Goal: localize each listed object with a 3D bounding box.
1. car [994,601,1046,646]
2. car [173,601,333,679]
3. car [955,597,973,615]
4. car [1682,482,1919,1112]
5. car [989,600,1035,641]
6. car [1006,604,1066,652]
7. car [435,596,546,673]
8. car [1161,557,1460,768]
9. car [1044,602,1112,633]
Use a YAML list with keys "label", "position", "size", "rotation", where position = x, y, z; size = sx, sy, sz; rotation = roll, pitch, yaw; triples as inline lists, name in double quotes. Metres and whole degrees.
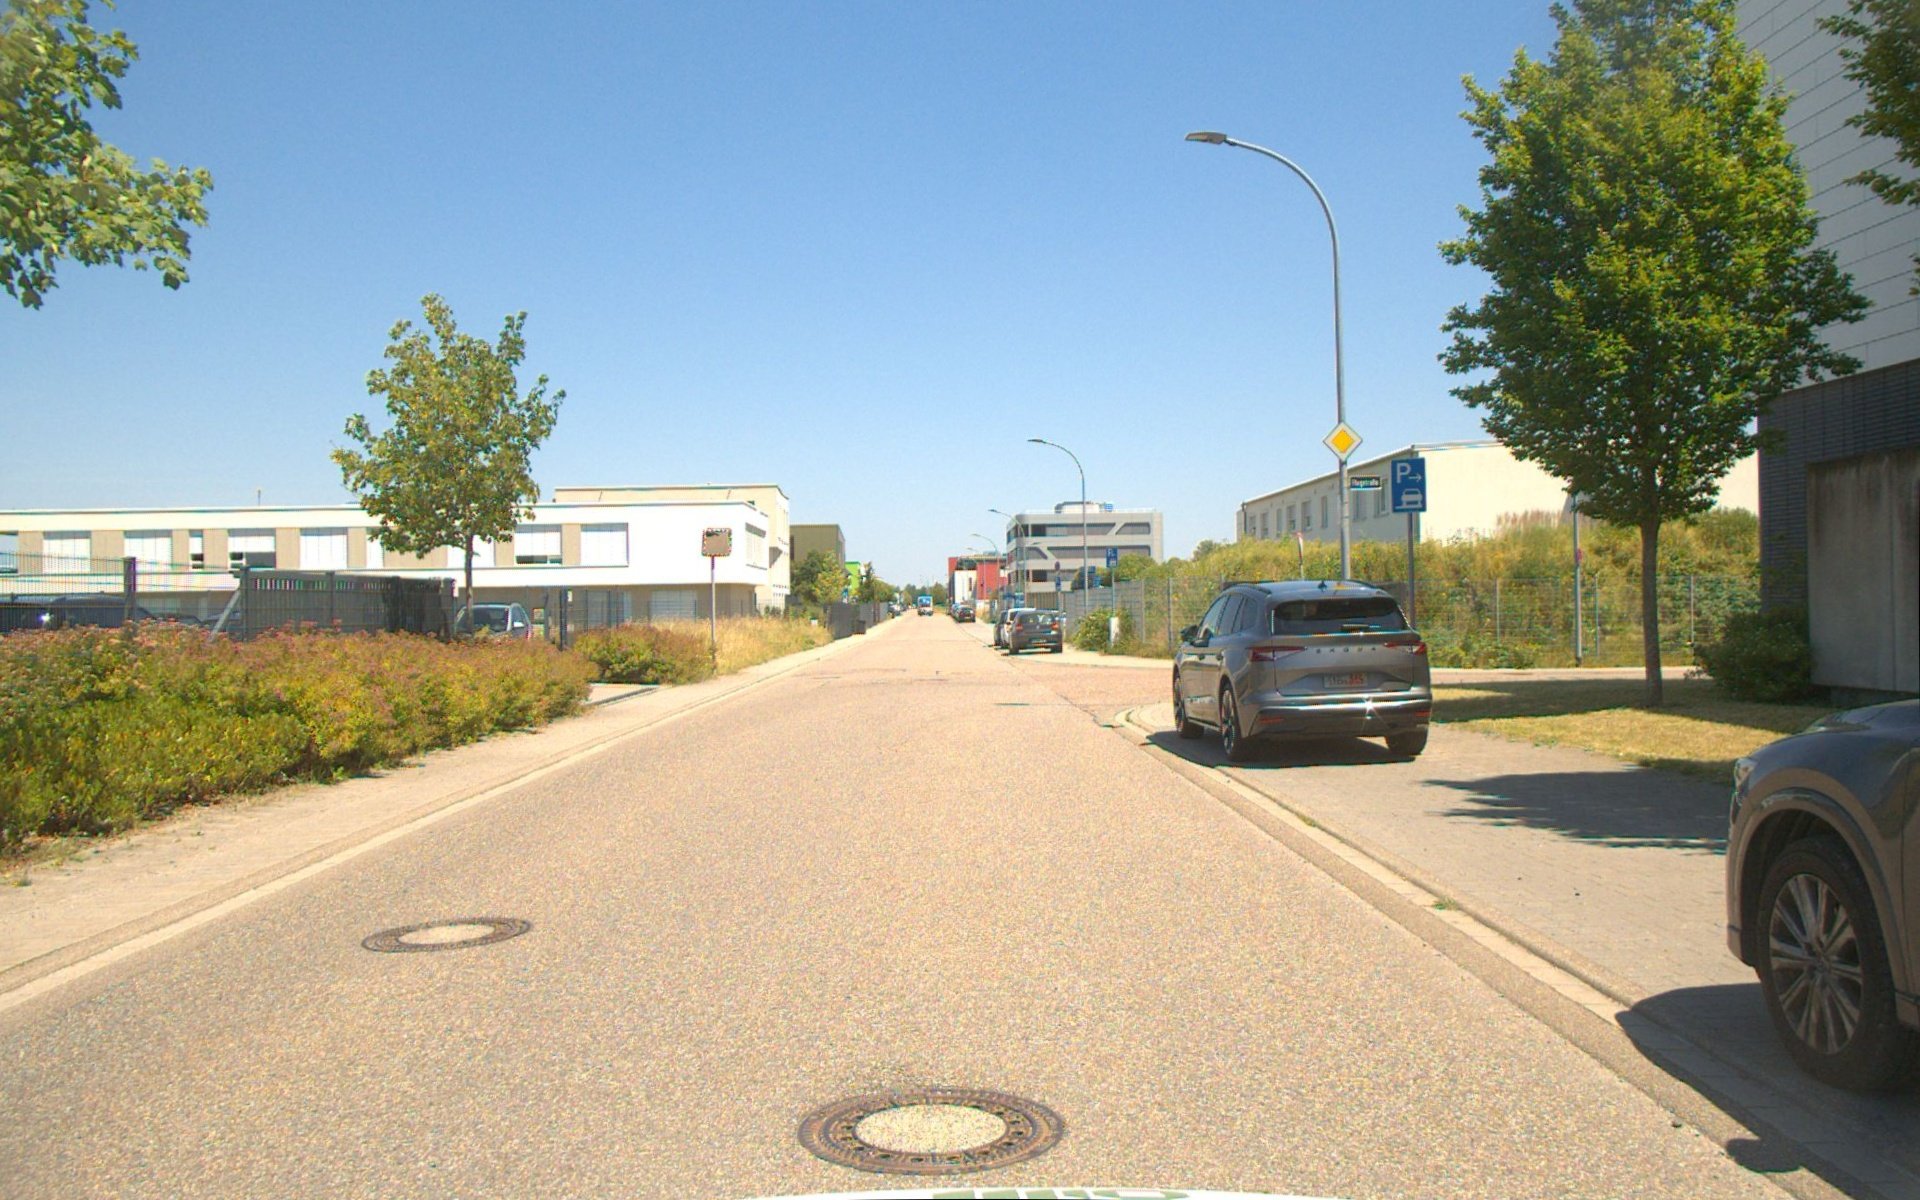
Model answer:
- label: "car"
  position: [2.335, 0.890, 64.792]
  size: [1.868, 1.573, 4.001]
  rotation: [-3, 0, 2]
- label: "car"
  position: [-14.552, 0.784, 34.266]
  size: [1.765, 1.465, 3.997]
  rotation: [-1, 0, -3]
- label: "car"
  position: [0.406, 0.615, 166.562]
  size: [1.740, 1.758, 3.999]
  rotation: [1, 0, -1]
- label: "car"
  position: [3.417, 0.497, 3.557]
  size: [1.722, 1.692, 4.362]
  rotation: [-3, 0, -1]
- label: "car"
  position: [2.236, 0.860, 71.227]
  size: [1.868, 1.573, 4.001]
  rotation: [-3, 0, 2]
- label: "car"
  position: [2.524, 0.913, 55.859]
  size: [1.868, 1.473, 4.001]
  rotation: [-3, 0, 2]
- label: "car"
  position: [-10.095, 0.715, 35.765]
  size: [1.666, 1.547, 2.995]
  rotation: [-1, 0, -4]
- label: "car"
  position: [3.284, 0.519, 16.465]
  size: [1.768, 1.691, 4.606]
  rotation: [-4, 0, -2]
- label: "car"
  position: [8.011, 1.156, 112.931]
  size: [4.529, 2.049, 2.607]
  rotation: [1, 0, 2]
